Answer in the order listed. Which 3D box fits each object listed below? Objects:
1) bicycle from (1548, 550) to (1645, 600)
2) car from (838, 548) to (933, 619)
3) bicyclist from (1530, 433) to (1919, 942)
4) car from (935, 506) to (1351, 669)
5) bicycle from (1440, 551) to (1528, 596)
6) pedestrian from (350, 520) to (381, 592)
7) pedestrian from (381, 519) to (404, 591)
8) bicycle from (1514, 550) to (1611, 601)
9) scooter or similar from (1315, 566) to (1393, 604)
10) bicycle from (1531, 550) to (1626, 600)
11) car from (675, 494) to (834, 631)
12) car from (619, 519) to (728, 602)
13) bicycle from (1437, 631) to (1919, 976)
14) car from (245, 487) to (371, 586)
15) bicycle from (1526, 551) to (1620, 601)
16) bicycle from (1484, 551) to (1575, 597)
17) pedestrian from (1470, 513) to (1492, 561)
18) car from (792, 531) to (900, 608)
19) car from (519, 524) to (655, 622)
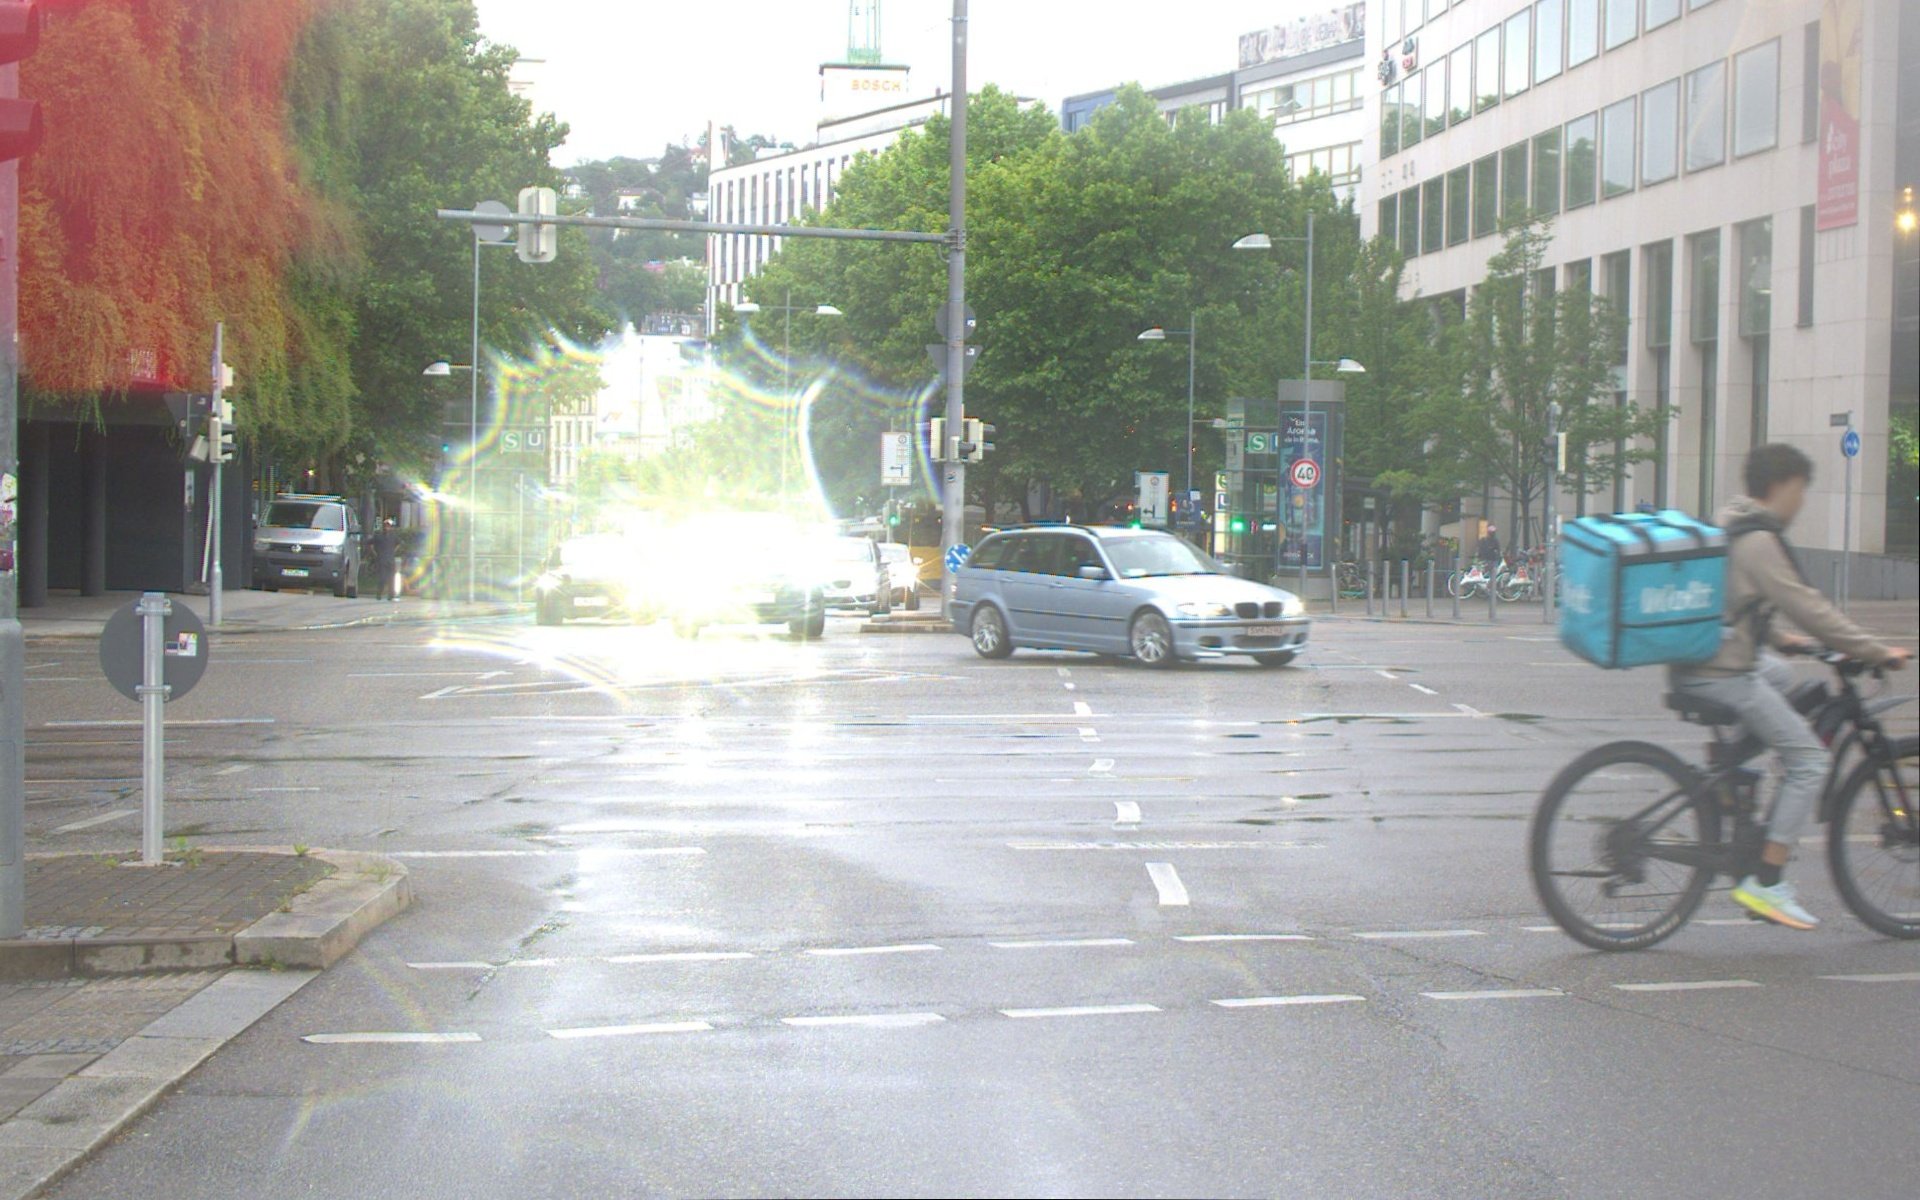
[{"bbox_3d":[12.008,-0.477,64.855,1.799,0.931,0.474,1,1,41],"label":"bicycle"},{"bbox_3d":[-1.808,-0.412,82.154,1.993,1.524,4.557,0,2,-4],"label":"car"},{"bbox_3d":[2.803,0.282,12.127,1.294,1.698,0.848,0,1,-25],"label":"bicyclist"},{"bbox_3d":[1.789,-0.188,35.160,1.994,1.481,4.464,-2,3,-33],"label":"car"},{"bbox_3d":[11.081,-0.570,72.743,1.794,0.931,0.475,0,1,3],"label":"bicycle"},{"bbox_3d":[-12.566,-0.928,72.667,0.607,1.519,0.588,0,1,-5],"label":"pedestrian"},{"bbox_3d":[-12.010,-0.950,72.768,0.436,1.519,0.548,0,1,-5],"label":"pedestrian"},{"bbox_3d":[11.243,-0.468,64.213,1.799,0.931,0.474,1,1,41],"label":"bicycle"},{"bbox_3d":[9.139,-0.359,79.730,1.745,0.875,0.489,0,1,-19],"label":"scooter or similar"},{"bbox_3d":[11.834,-0.492,65.821,1.799,0.931,0.474,1,1,41],"label":"bicycle"},{"bbox_3d":[-2.742,-0.535,45.002,1.963,1.649,4.365,0,2,-5],"label":"car"},{"bbox_3d":[-5.395,-0.761,64.310,1.856,1.443,4.622,0,2,-7],"label":"car"},{"bbox_3d":[2.835,0.679,12.170,2.145,1.099,0.848,0,1,-25],"label":"bicycle"},{"bbox_3d":[-12.915,-1.265,68.293,1.993,1.888,4.466,0,1,-5],"label":"car"},{"bbox_3d":[11.862,-0.465,66.566,1.799,0.931,0.474,1,1,41],"label":"bicycle"},{"bbox_3d":[11.733,-0.538,70.894,1.794,0.931,0.475,0,1,3],"label":"bicycle"},{"bbox_3d":[12.635,-1.531,83.377,0.352,1.169,0.415,0,1,-21],"label":"pedestrian"},{"bbox_3d":[-2.276,-0.619,67.382,1.993,1.439,4.556,0,1,-3],"label":"car"},{"bbox_3d":[-6.011,-0.462,55.058,1.856,1.443,4.622,0,2,-10],"label":"car"}]
